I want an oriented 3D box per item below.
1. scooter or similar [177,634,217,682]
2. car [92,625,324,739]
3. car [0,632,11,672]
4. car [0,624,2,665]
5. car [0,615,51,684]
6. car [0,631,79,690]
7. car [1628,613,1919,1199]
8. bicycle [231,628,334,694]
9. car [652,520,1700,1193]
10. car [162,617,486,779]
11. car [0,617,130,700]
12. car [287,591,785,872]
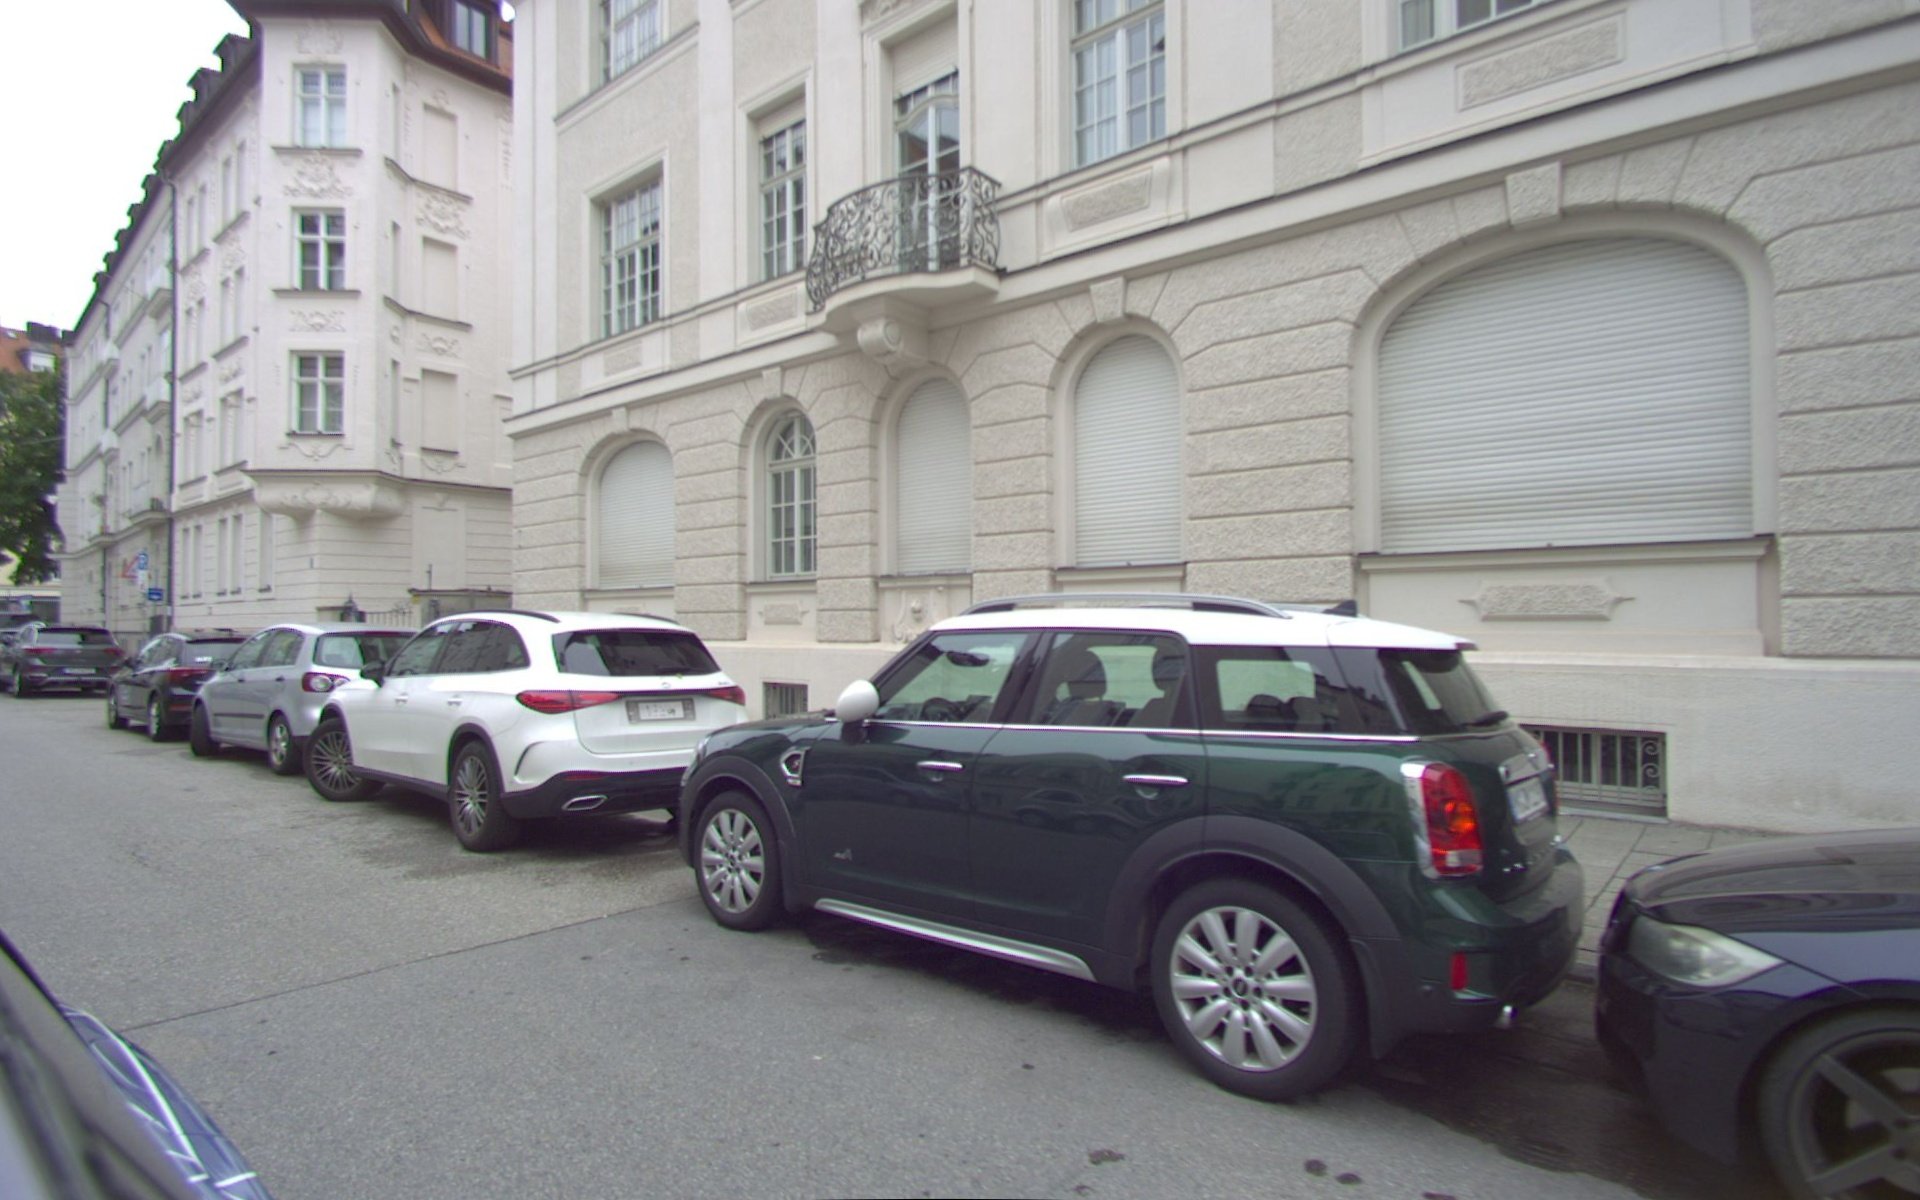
[{"bbox_3d":[-20.121,1.517,26.678,1.547,1.209,0.526,-2,-2,41],"label":"scooter or similar"},{"bbox_3d":[-11.038,1.107,14.753,4.276,1.426,1.774,-1,-4,41],"label":"car"},{"bbox_3d":[-36.363,1.897,37.401,4.092,1.417,1.636,-2,-3,44],"label":"car"},{"bbox_3d":[-40.169,1.818,40.939,4.434,1.611,1.855,-2,-2,44],"label":"car"},{"bbox_3d":[-28.243,1.445,29.605,4.760,1.909,1.817,-2,-4,41],"label":"car"},{"bbox_3d":[-24.234,1.517,26.027,4.243,1.405,1.817,-2,-4,42],"label":"car"},{"bbox_3d":[3.971,0.712,1.881,4.364,1.423,1.769,-2,-2,40],"label":"car"},{"bbox_3d":[-14.697,1.282,21.927,2.715,1.251,1.140,-2,2,42],"label":"bicycle"},{"bbox_3d":[0.610,0.679,4.542,4.241,1.631,1.818,-2,-2,40],"label":"car"},{"bbox_3d":[-7.456,1.016,11.723,4.251,1.553,1.766,-1,-3,37],"label":"car"},{"bbox_3d":[-19.648,1.226,21.961,4.117,1.631,1.709,-1,-3,39],"label":"car"},{"bbox_3d":[-3.608,0.829,8.131,4.569,1.631,1.895,-2,-2,41],"label":"car"}]
